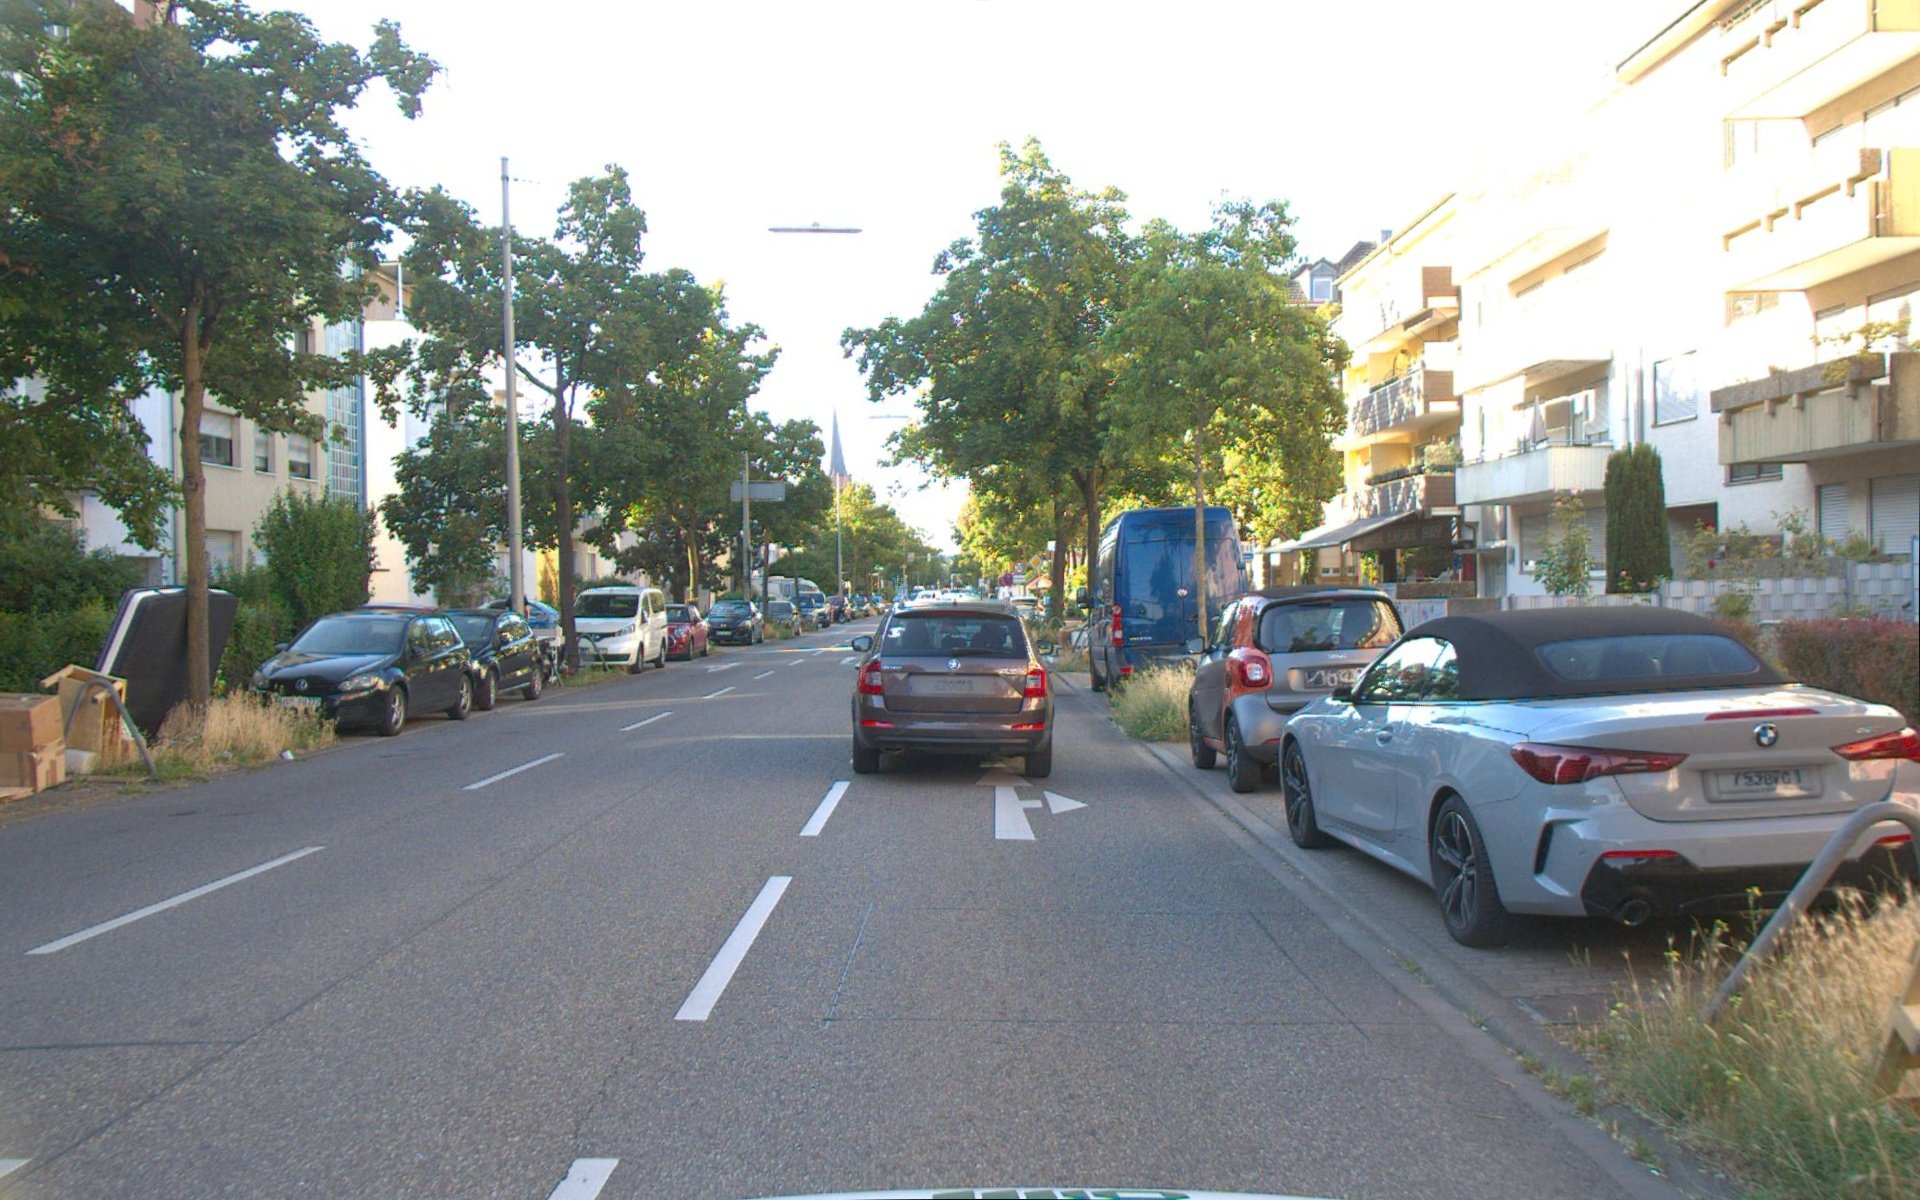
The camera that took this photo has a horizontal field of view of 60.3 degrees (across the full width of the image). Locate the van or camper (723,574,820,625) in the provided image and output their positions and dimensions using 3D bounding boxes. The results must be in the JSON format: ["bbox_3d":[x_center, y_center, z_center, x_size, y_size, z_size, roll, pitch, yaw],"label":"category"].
[{"bbox_3d":[-14.993,-0.056,131.715,7.486,3.942,1.999,-1,0,-2],"label":"van or camper"}]

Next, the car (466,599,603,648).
[{"bbox_3d":[-13.566,0.727,52.932,3.908,1.505,1.999,0,1,-4],"label":"car"}]

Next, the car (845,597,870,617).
[{"bbox_3d":[-7.537,0.507,122.274,1.630,1.457,3.275,-1,1,0],"label":"car"}]

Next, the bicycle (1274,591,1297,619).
[{"bbox_3d":[11.756,0.182,59.748,0.335,0.967,1.580,-3,0,-5],"label":"bicycle"}]

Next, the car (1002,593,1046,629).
[{"bbox_3d":[2.726,0.437,70.472,1.783,1.438,4.112,-1,1,2],"label":"car"}]

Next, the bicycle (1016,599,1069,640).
[{"bbox_3d":[2.745,0.645,54.901,1.635,1.247,0.636,-3,0,13],"label":"bicycle"}]

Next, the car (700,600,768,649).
[{"bbox_3d":[-7.607,0.798,56.020,1.682,1.523,4.248,-1,1,0],"label":"car"}]

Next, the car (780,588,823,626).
[{"bbox_3d":[-7.680,0.306,80.547,1.714,1.771,3.591,-1,1,0],"label":"car"}]

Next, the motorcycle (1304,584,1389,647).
[{"bbox_3d":[10.452,0.407,44.746,2.148,1.649,0.732,-1,0,6],"label":"motorcycle"}]

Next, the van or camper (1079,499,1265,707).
[{"bbox_3d":[3.032,0.051,25.008,2.025,2.722,5.989,-1,0,0],"label":"van or camper"}]

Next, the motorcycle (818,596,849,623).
[{"bbox_3d":[-7.310,0.534,95.489,0.760,1.538,1.999,-1,1,-42],"label":"motorcycle"}]

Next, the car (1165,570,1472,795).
[{"bbox_3d":[2.940,0.628,14.364,1.737,1.671,3.756,-1,0,-2],"label":"car"}]

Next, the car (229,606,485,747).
[{"bbox_3d":[-7.580,0.897,21.234,1.714,1.529,4.197,-1,1,0],"label":"car"}]

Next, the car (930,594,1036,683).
[{"bbox_3d":[0.375,0.668,31.381,1.695,1.520,3.948,-1,1,-4],"label":"car"}]

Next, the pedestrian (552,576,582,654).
[{"bbox_3d":[-10.476,0.395,44.137,0.614,2.049,0.616,-1,0,-1],"label":"pedestrian"}]

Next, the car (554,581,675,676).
[{"bbox_3d":[-7.623,0.571,36.882,1.733,1.952,4.460,-1,1,0],"label":"car"}]

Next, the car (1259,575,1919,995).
[{"bbox_3d":[3.038,0.650,8.503,1.882,1.512,4.743,-1,1,-3],"label":"car"}]

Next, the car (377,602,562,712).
[{"bbox_3d":[-7.659,0.835,26.179,1.714,1.529,3.978,-1,1,0],"label":"car"}]

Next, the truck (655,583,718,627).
[{"bbox_3d":[-13.536,0.241,81.974,2.854,2.130,1.546,-1,0,-1],"label":"truck"}]

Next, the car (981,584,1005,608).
[{"bbox_3d":[2.582,-0.346,130.348,1.694,1.846,3.950,-1,1,-1],"label":"car"}]

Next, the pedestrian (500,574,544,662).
[{"bbox_3d":[-10.385,0.406,39.225,0.751,2.049,0.976,-1,0,-1],"label":"pedestrian"}]

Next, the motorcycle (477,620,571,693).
[{"bbox_3d":[-7.747,0.993,29.468,0.433,1.212,1.700,-1,1,37],"label":"motorcycle"}]

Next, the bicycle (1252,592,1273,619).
[{"bbox_3d":[11.030,0.188,60.335,0.335,0.967,1.580,2,0,-5],"label":"bicycle"}]

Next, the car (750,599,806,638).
[{"bbox_3d":[-7.382,0.716,67.365,1.718,1.445,4.426,-1,1,1],"label":"car"}]

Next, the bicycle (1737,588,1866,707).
[{"bbox_3d":[8.367,0.446,16.513,0.482,1.108,1.544,-1,1,0],"label":"bicycle"}]

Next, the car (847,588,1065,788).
[{"bbox_3d":[0.012,0.676,14.950,1.694,1.520,3.951,-1,1,1],"label":"car"}]

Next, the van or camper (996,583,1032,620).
[{"bbox_3d":[3.067,0.050,94.560,1.953,2.049,4.000,-1,1,0],"label":"van or camper"}]

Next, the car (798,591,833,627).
[{"bbox_3d":[-7.409,0.441,85.215,1.476,1.788,3.693,-1,1,0],"label":"car"}]

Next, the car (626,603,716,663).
[{"bbox_3d":[-7.628,0.834,43.935,1.682,1.445,3.786,-1,1,0],"label":"car"}]

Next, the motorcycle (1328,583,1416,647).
[{"bbox_3d":[10.911,0.385,43.888,2.148,1.649,0.890,-1,0,6],"label":"motorcycle"}]

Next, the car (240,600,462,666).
[{"bbox_3d":[-14.194,0.746,38.843,4.629,1.386,1.993,-1,1,-13],"label":"car"}]

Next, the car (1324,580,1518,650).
[{"bbox_3d":[10.515,0.316,37.899,3.908,1.487,1.823,-1,1,-4],"label":"car"}]

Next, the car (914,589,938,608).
[{"bbox_3d":[-3.419,-0.187,166.817,1.837,1.788,4.182,-1,1,6],"label":"car"}]
